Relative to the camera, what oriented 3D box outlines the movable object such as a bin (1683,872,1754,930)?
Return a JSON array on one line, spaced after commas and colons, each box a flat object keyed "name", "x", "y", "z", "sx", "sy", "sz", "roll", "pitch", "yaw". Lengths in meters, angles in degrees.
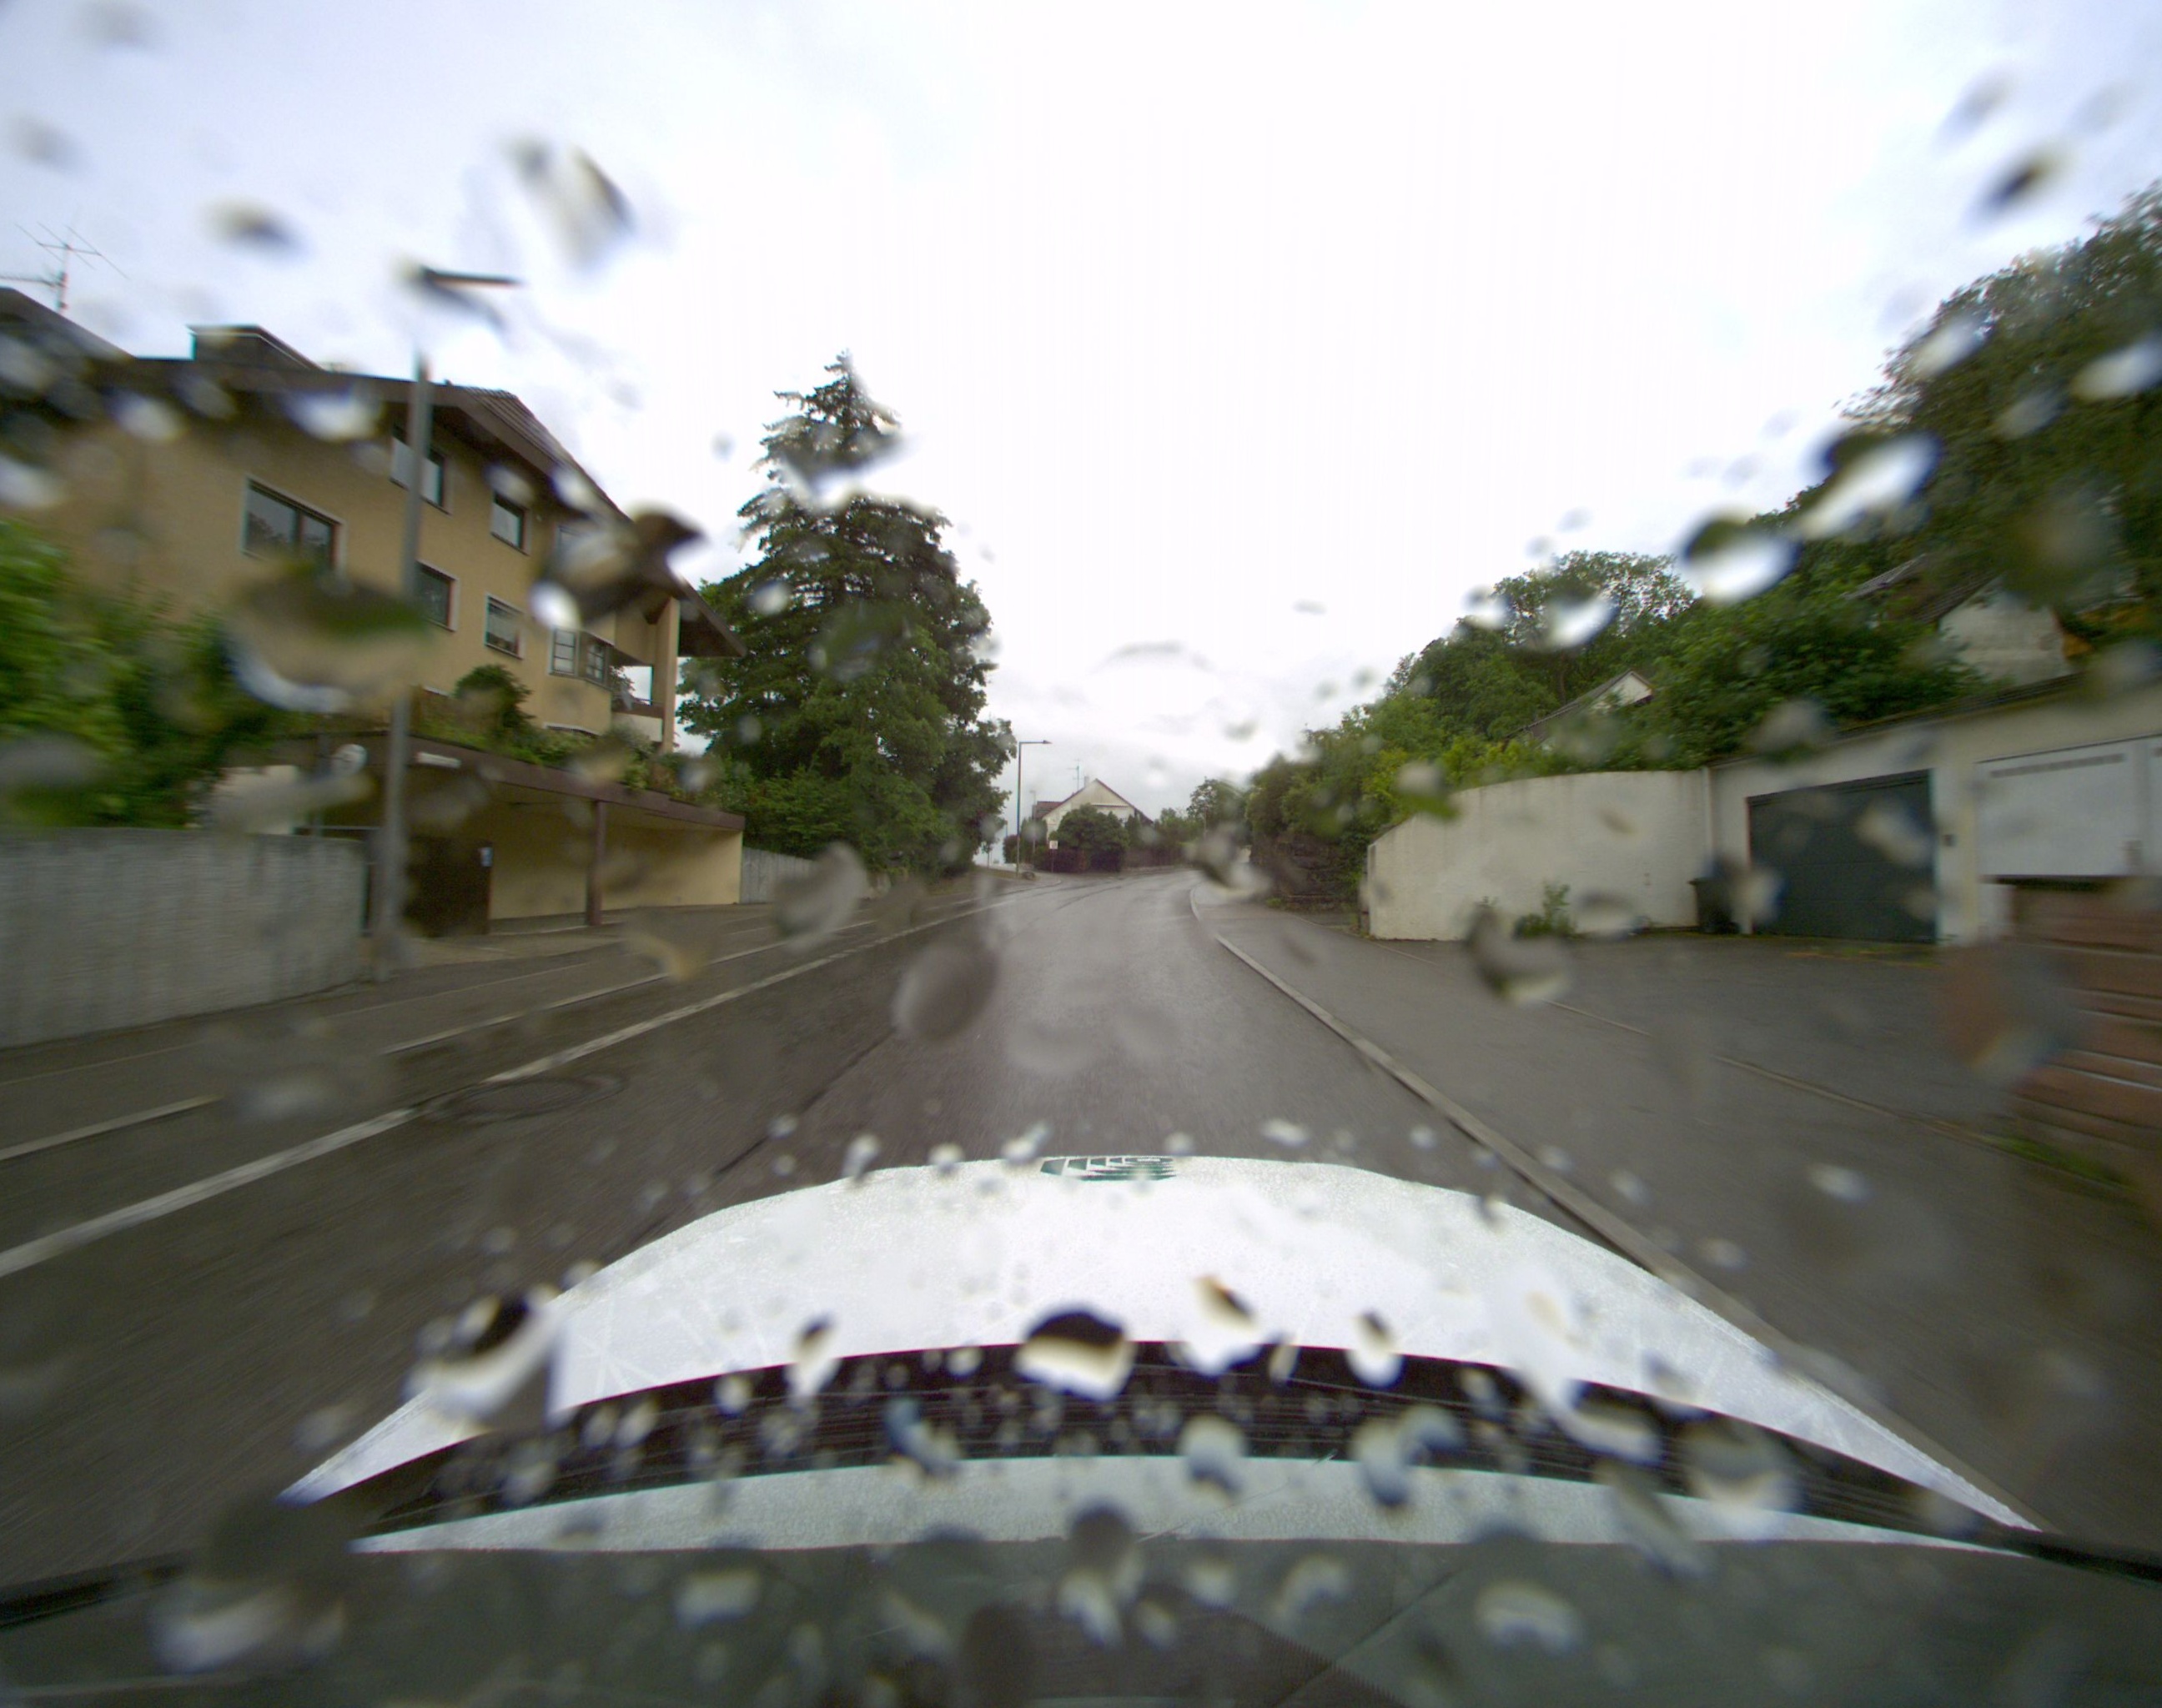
[{"name": "movable object such as a bin", "x": 10.347, "y": 0.749, "z": 13.244, "sx": 0.633, "sy": 0.892, "sz": 0.650, "roll": -1, "pitch": 0, "yaw": -1}]
